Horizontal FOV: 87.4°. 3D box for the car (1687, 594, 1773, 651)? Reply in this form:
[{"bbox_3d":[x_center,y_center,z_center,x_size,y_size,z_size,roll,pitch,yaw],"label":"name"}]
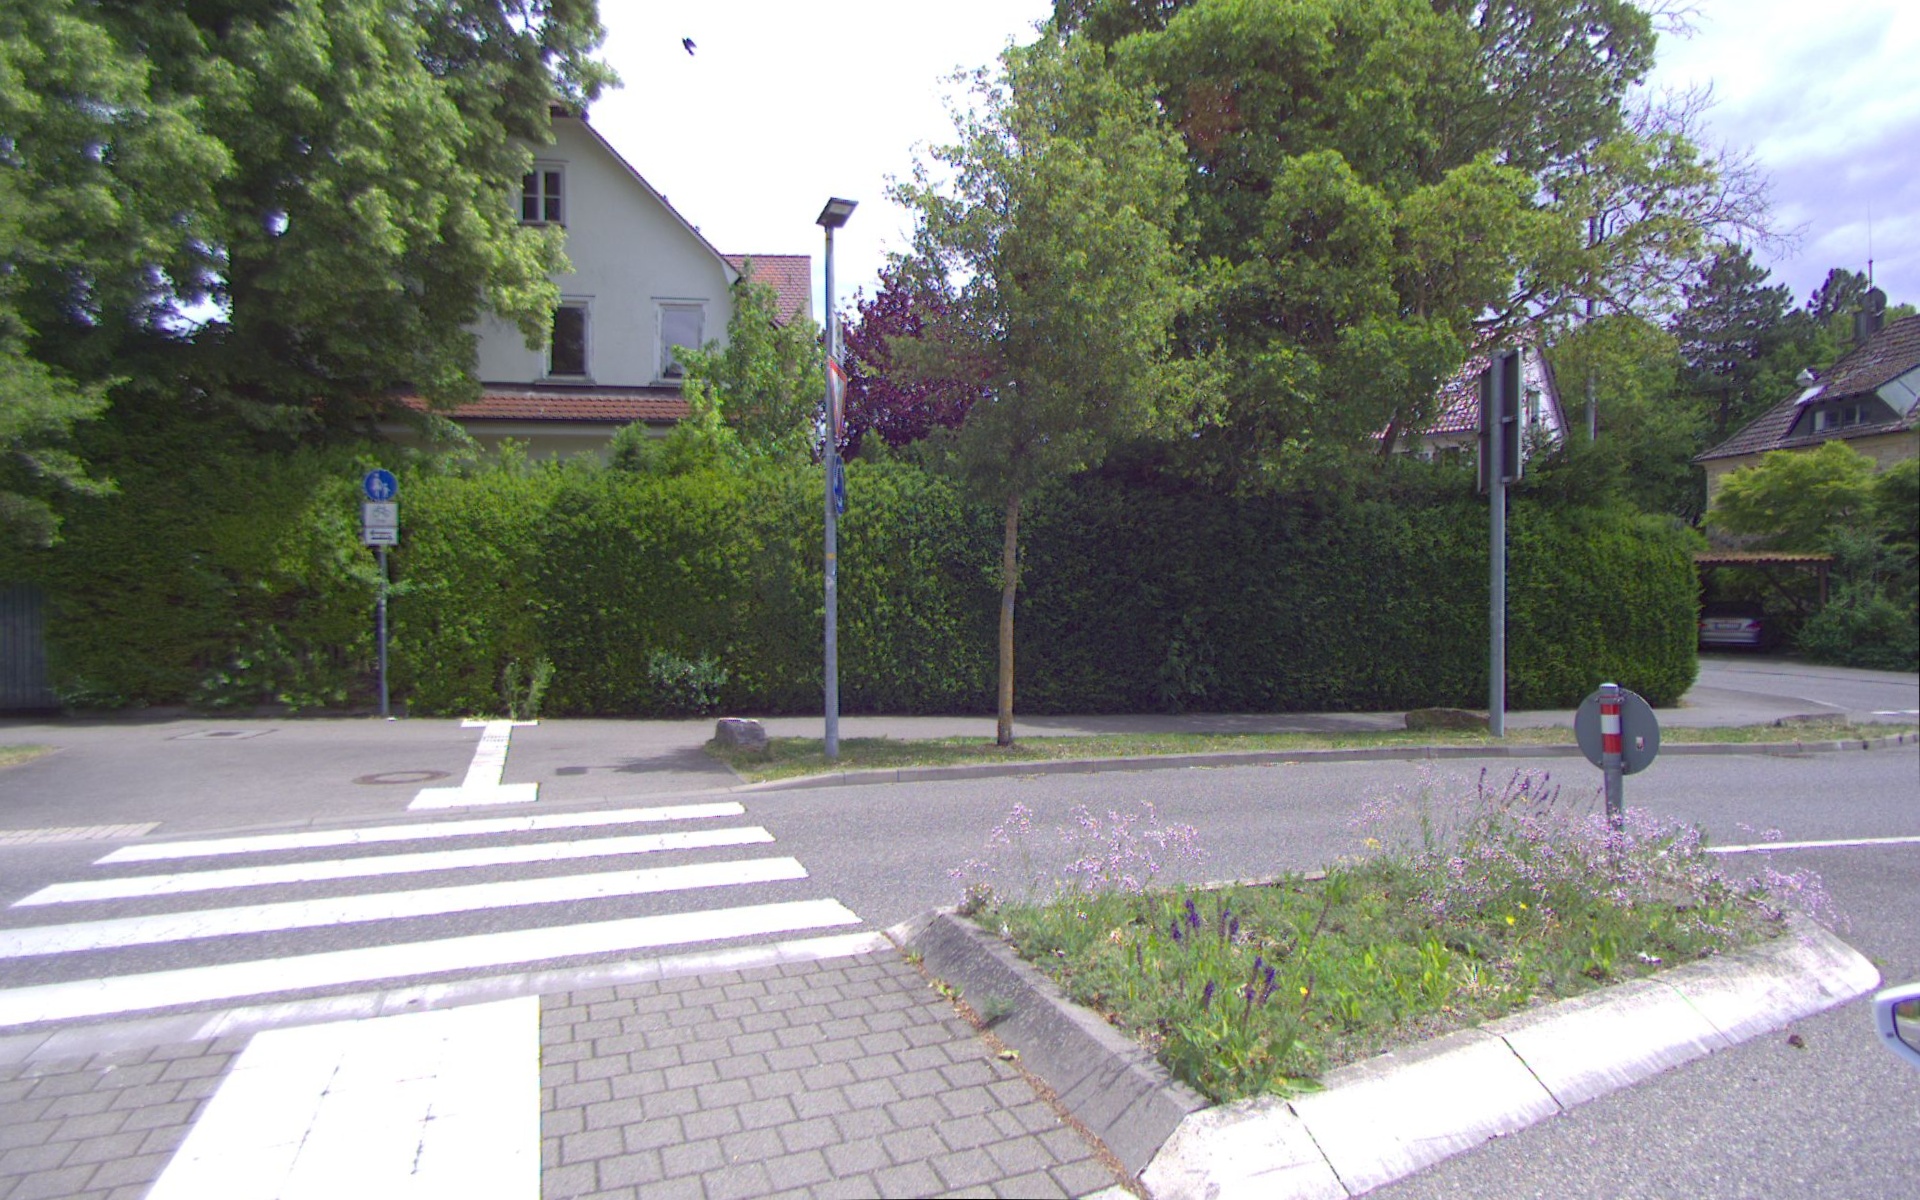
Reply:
[{"bbox_3d":[22.391,0.596,29.167,1.703,1.530,3.979,2,1,41],"label":"car"}]
